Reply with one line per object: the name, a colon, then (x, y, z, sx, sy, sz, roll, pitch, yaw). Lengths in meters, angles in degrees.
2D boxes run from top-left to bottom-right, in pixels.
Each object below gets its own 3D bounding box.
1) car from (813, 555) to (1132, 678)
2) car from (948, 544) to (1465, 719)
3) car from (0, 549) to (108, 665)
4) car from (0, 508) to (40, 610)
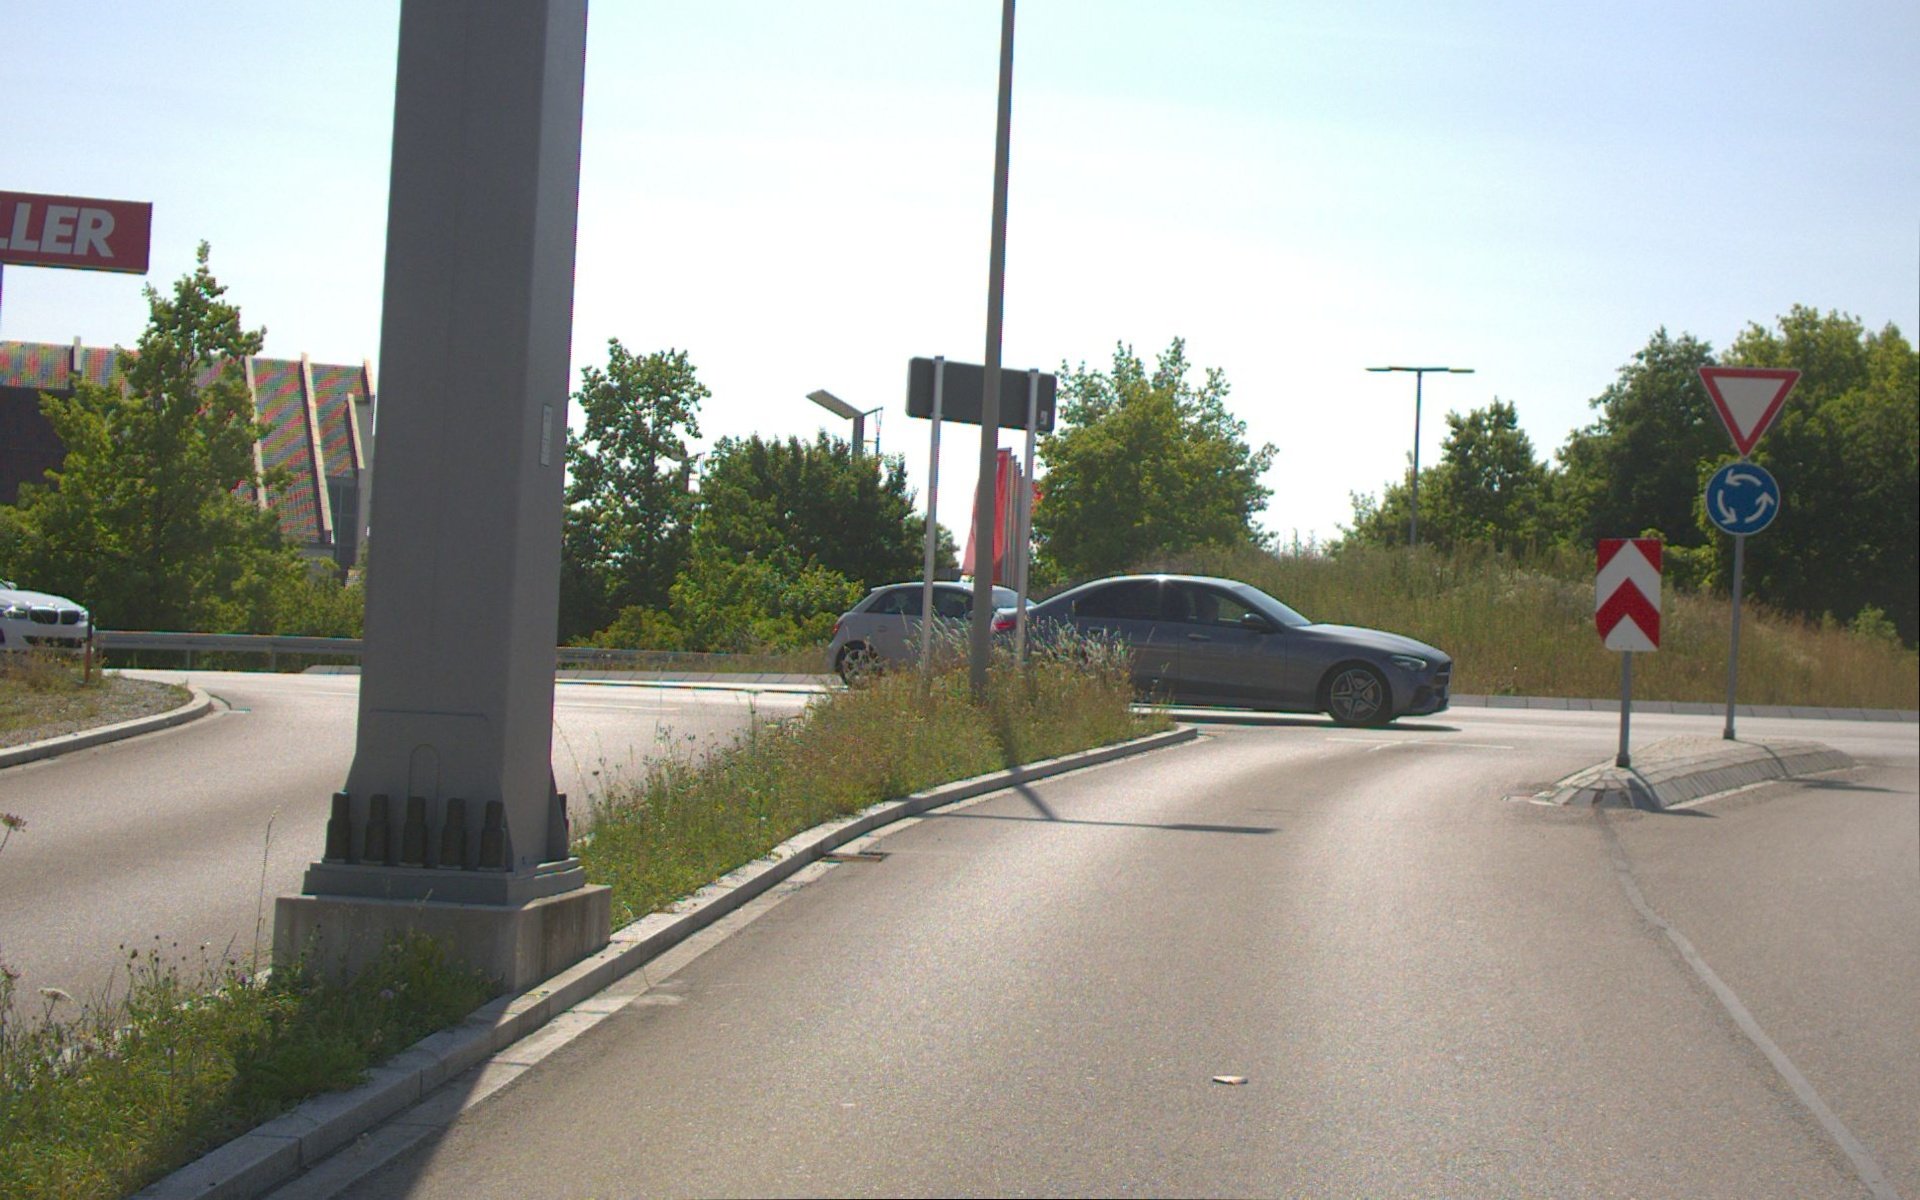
car: (0.153, 0.204, 44.082, 3.763, 1.347, 1.529, 3, 0, 30)
car: (2.520, 0.306, 34.785, 4.861, 1.447, 1.998, 3, 0, 15)
car: (-12.758, -0.005, 42.521, 4.334, 1.347, 1.570, 3, 0, 29)
car: (-16.392, -0.707, 52.776, 4.272, 1.525, 1.792, 2, 0, -13)
